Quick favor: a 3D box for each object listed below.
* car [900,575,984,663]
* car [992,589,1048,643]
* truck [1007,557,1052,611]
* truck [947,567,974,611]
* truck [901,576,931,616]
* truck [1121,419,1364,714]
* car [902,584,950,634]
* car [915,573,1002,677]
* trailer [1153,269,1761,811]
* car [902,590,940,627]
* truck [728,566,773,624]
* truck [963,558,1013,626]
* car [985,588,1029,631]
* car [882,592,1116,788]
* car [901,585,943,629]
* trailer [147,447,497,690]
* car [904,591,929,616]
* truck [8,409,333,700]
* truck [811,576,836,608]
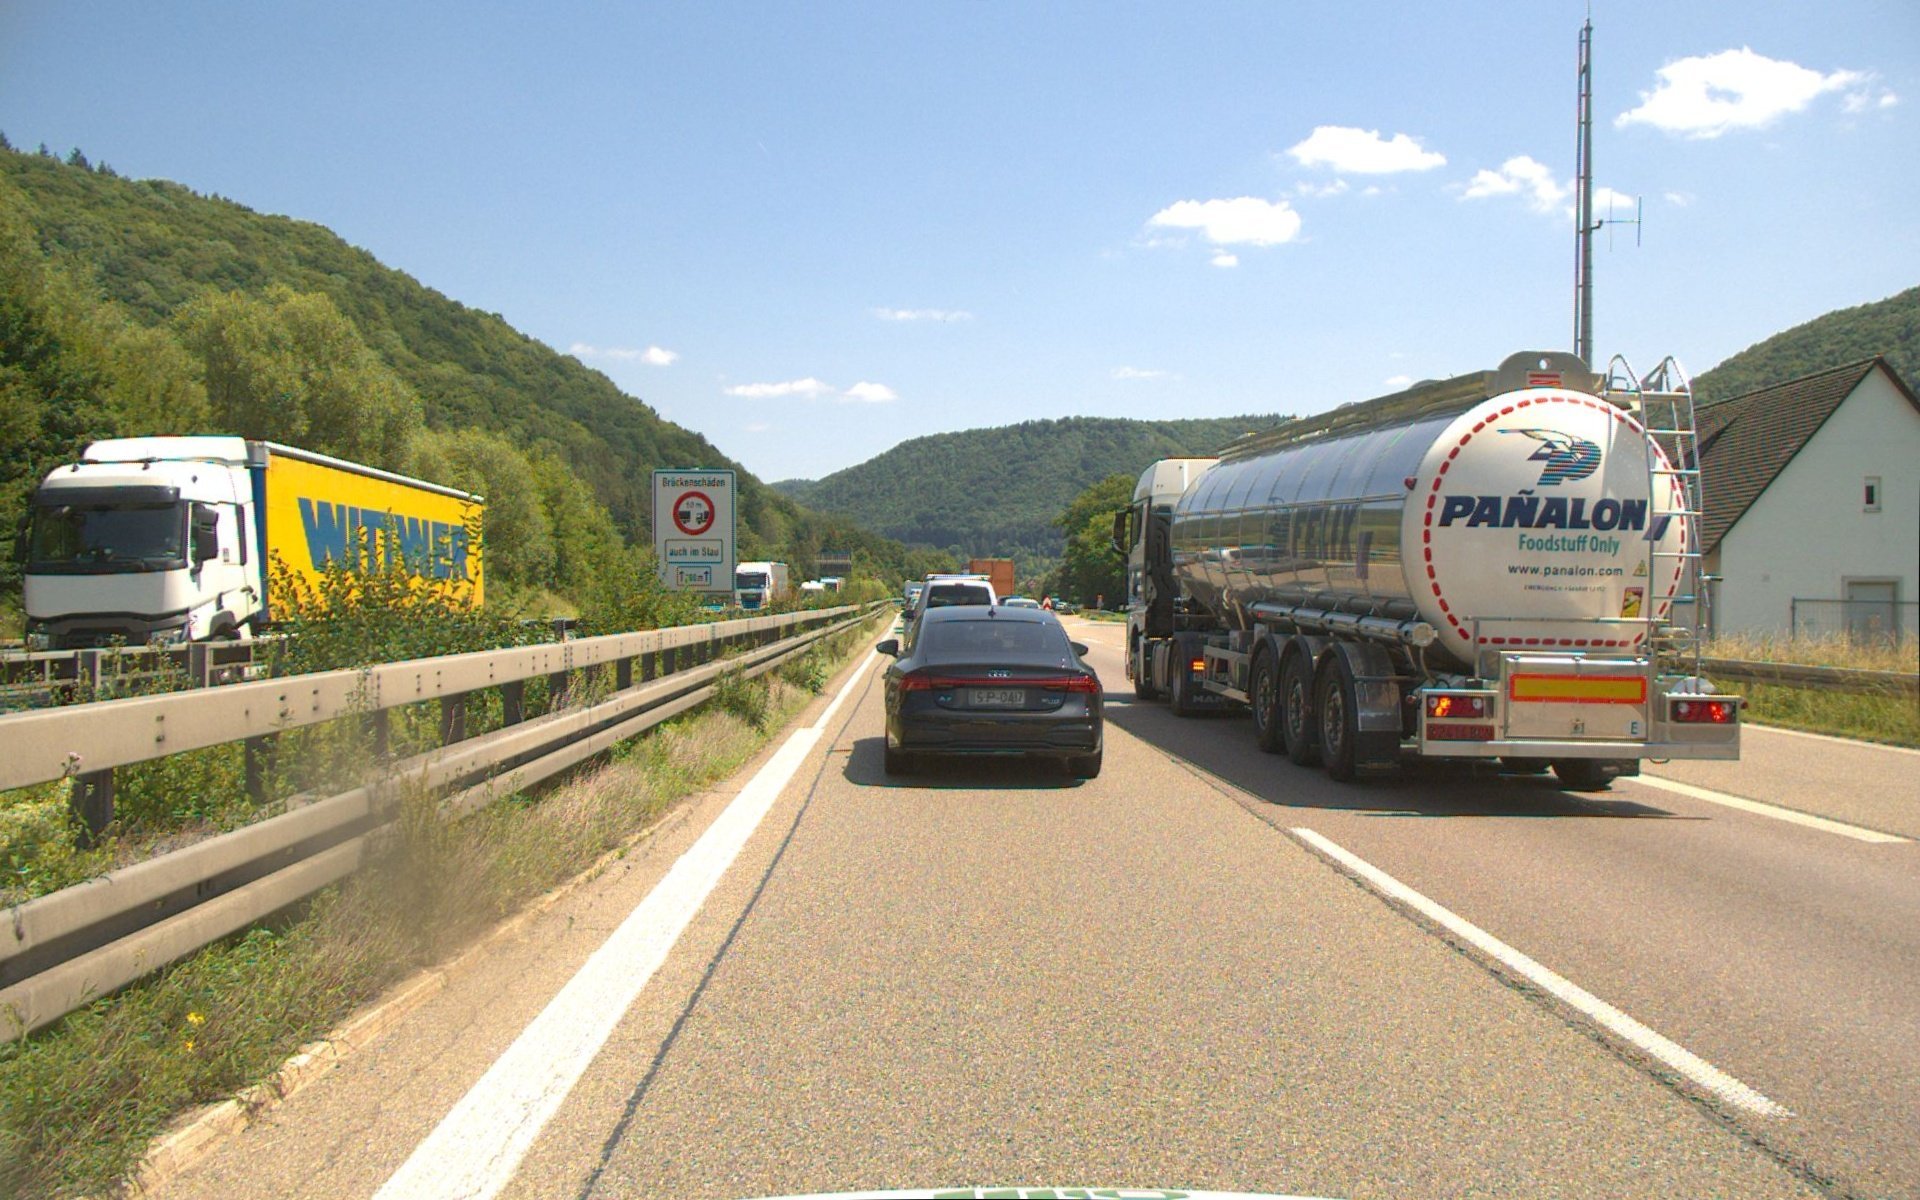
[{"bbox_3d":[-0.478,0.448,41.176,1.953,2.049,3.999,1,0,-2],"label":"car"},{"bbox_3d":[2.332,0.618,65.014,1.953,2.049,3.999,0,0,-2],"label":"car"},{"bbox_3d":[5.452,-1.222,131.957,2.760,4.073,14.952,1,0,-1],"label":"truck"},{"bbox_3d":[-0.019,-0.893,137.660,1.953,3.507,11.808,1,0,-1],"label":"truck"},{"bbox_3d":[-3.868,-0.339,148.625,2.575,3.501,11.418,0,0,-1],"label":"truck"},{"bbox_3d":[3.948,-0.437,24.212,2.461,3.824,5.243,1,0,-2],"label":"truck"},{"bbox_3d":[-1.457,0.350,69.627,1.953,2.049,3.998,0,0,-2],"label":"car"},{"bbox_3d":[-0.081,0.458,31.952,1.544,1.865,3.999,1,0,-2],"label":"car"},{"bbox_3d":[4.221,-0.422,17.646,2.487,3.801,11.886,1,0,-2],"label":"trailer"},{"bbox_3d":[-1.774,0.363,75.929,1.677,1.647,4.000,0,0,0],"label":"car"},{"bbox_3d":[-15.132,-0.348,119.780,2.673,4.071,5.368,0,0,-1],"label":"truck"},{"bbox_3d":[1.735,-0.508,107.797,2.760,4.073,14.952,1,0,-1],"label":"truck"},{"bbox_3d":[2.236,0.442,79.632,1.953,2.038,4.000,0,0,0],"label":"car"},{"bbox_3d":[0.231,0.701,14.953,1.812,1.514,4.081,1,0,-2],"label":"car"},{"bbox_3d":[-1.861,0.331,79.658,1.953,2.049,3.998,0,0,-2],"label":"car"},{"bbox_3d":[-12.537,-0.537,34.237,2.528,4.075,12.598,1,0,-1],"label":"trailer"},{"bbox_3d":[-3.016,0.230,114.596,1.677,1.647,4.000,0,0,0],"label":"car"},{"bbox_3d":[-12.417,-0.658,26.610,2.496,4.162,5.849,0,0,-1],"label":"truck"},{"bbox_3d":[-17.875,-1.071,216.669,2.811,4.050,9.028,1,0,-2],"label":"truck"}]
